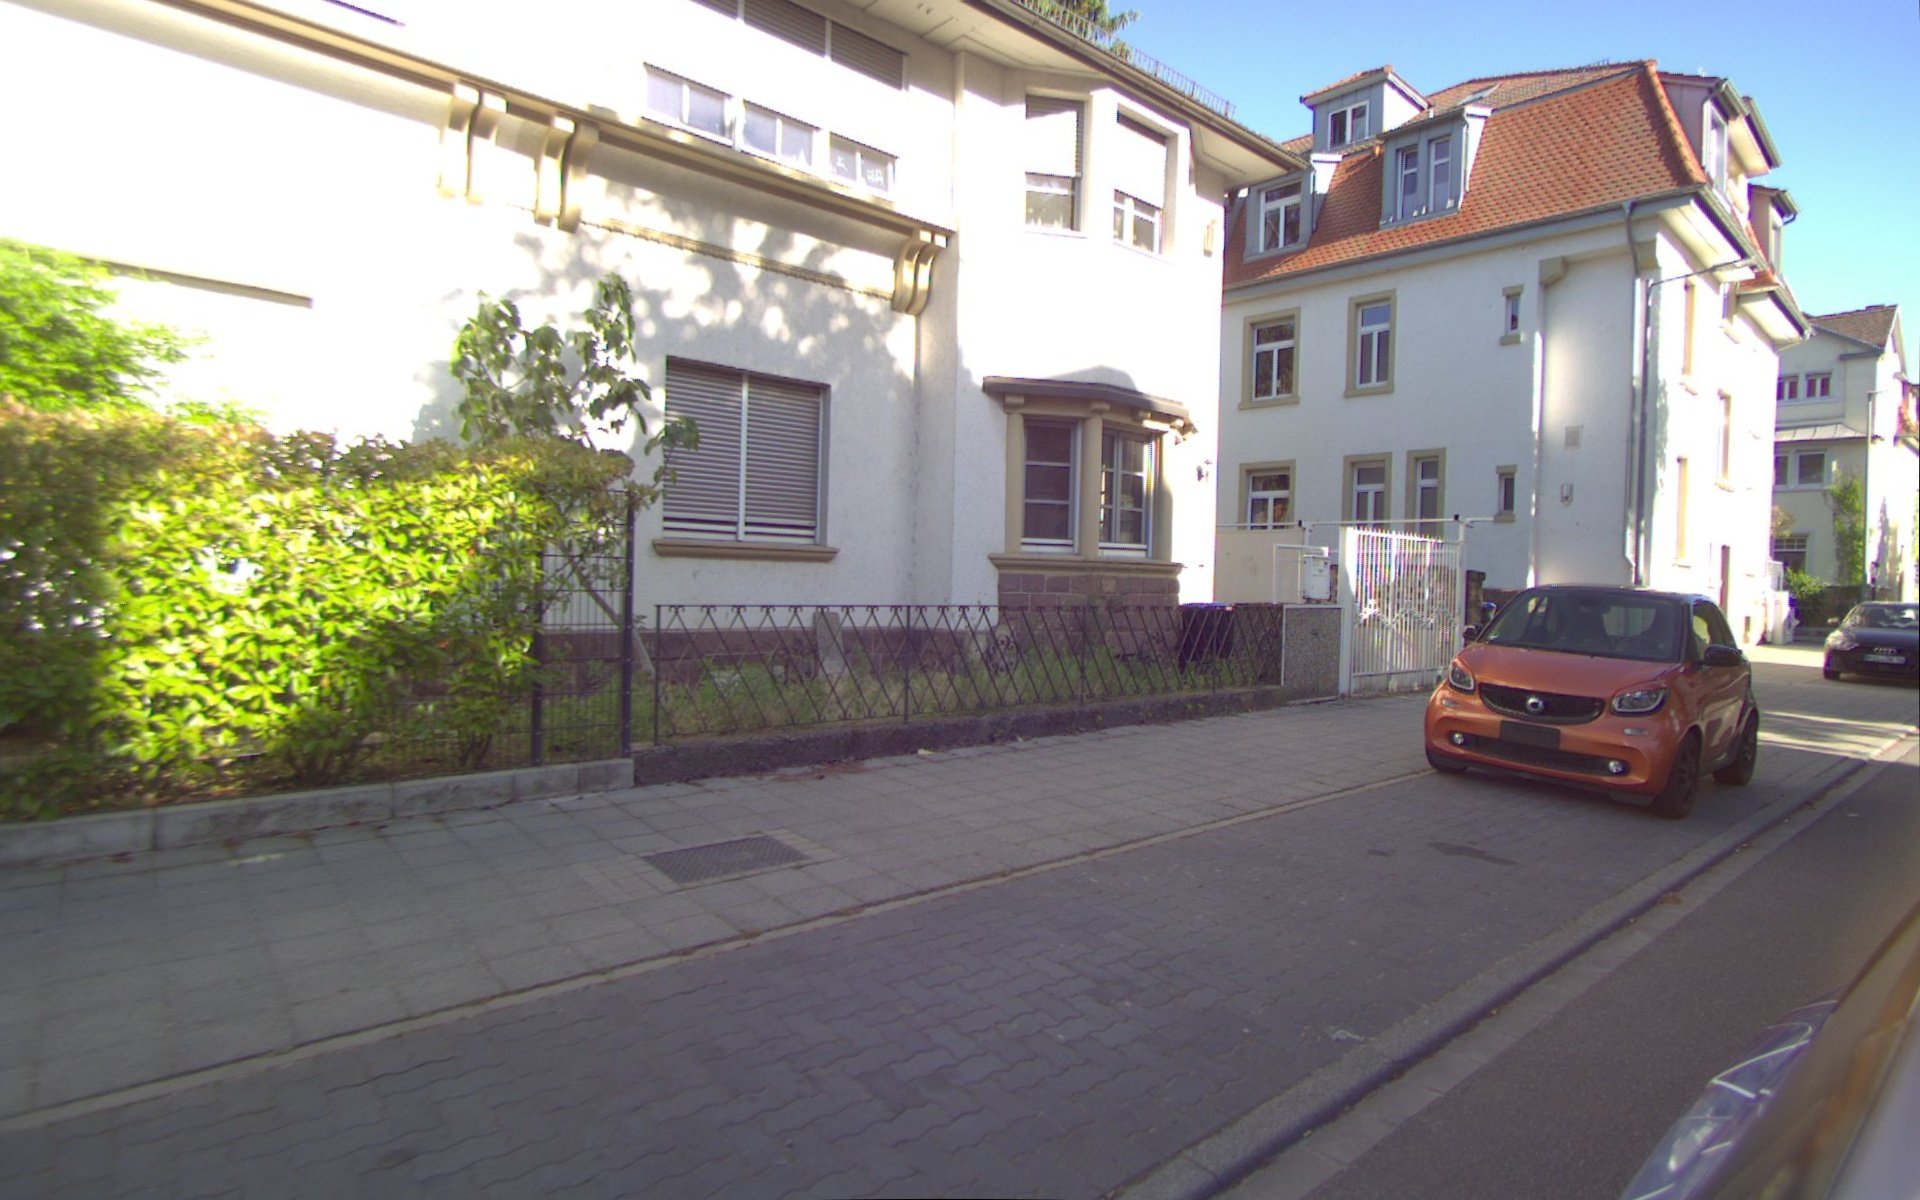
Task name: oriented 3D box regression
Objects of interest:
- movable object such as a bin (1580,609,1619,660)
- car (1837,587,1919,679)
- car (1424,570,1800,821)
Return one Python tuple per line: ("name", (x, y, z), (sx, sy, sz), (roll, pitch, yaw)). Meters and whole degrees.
("movable object such as a bin", (12.212, 0.647, 19.331), (0.642, 0.948, 0.486), (-1, 0, -44))
("car", (17.168, 0.562, 18.188), (3.867, 1.457, 1.623), (0, 4, -42))
("car", (5.201, 0.574, 7.956), (3.190, 1.498, 1.596), (0, 4, -41))
